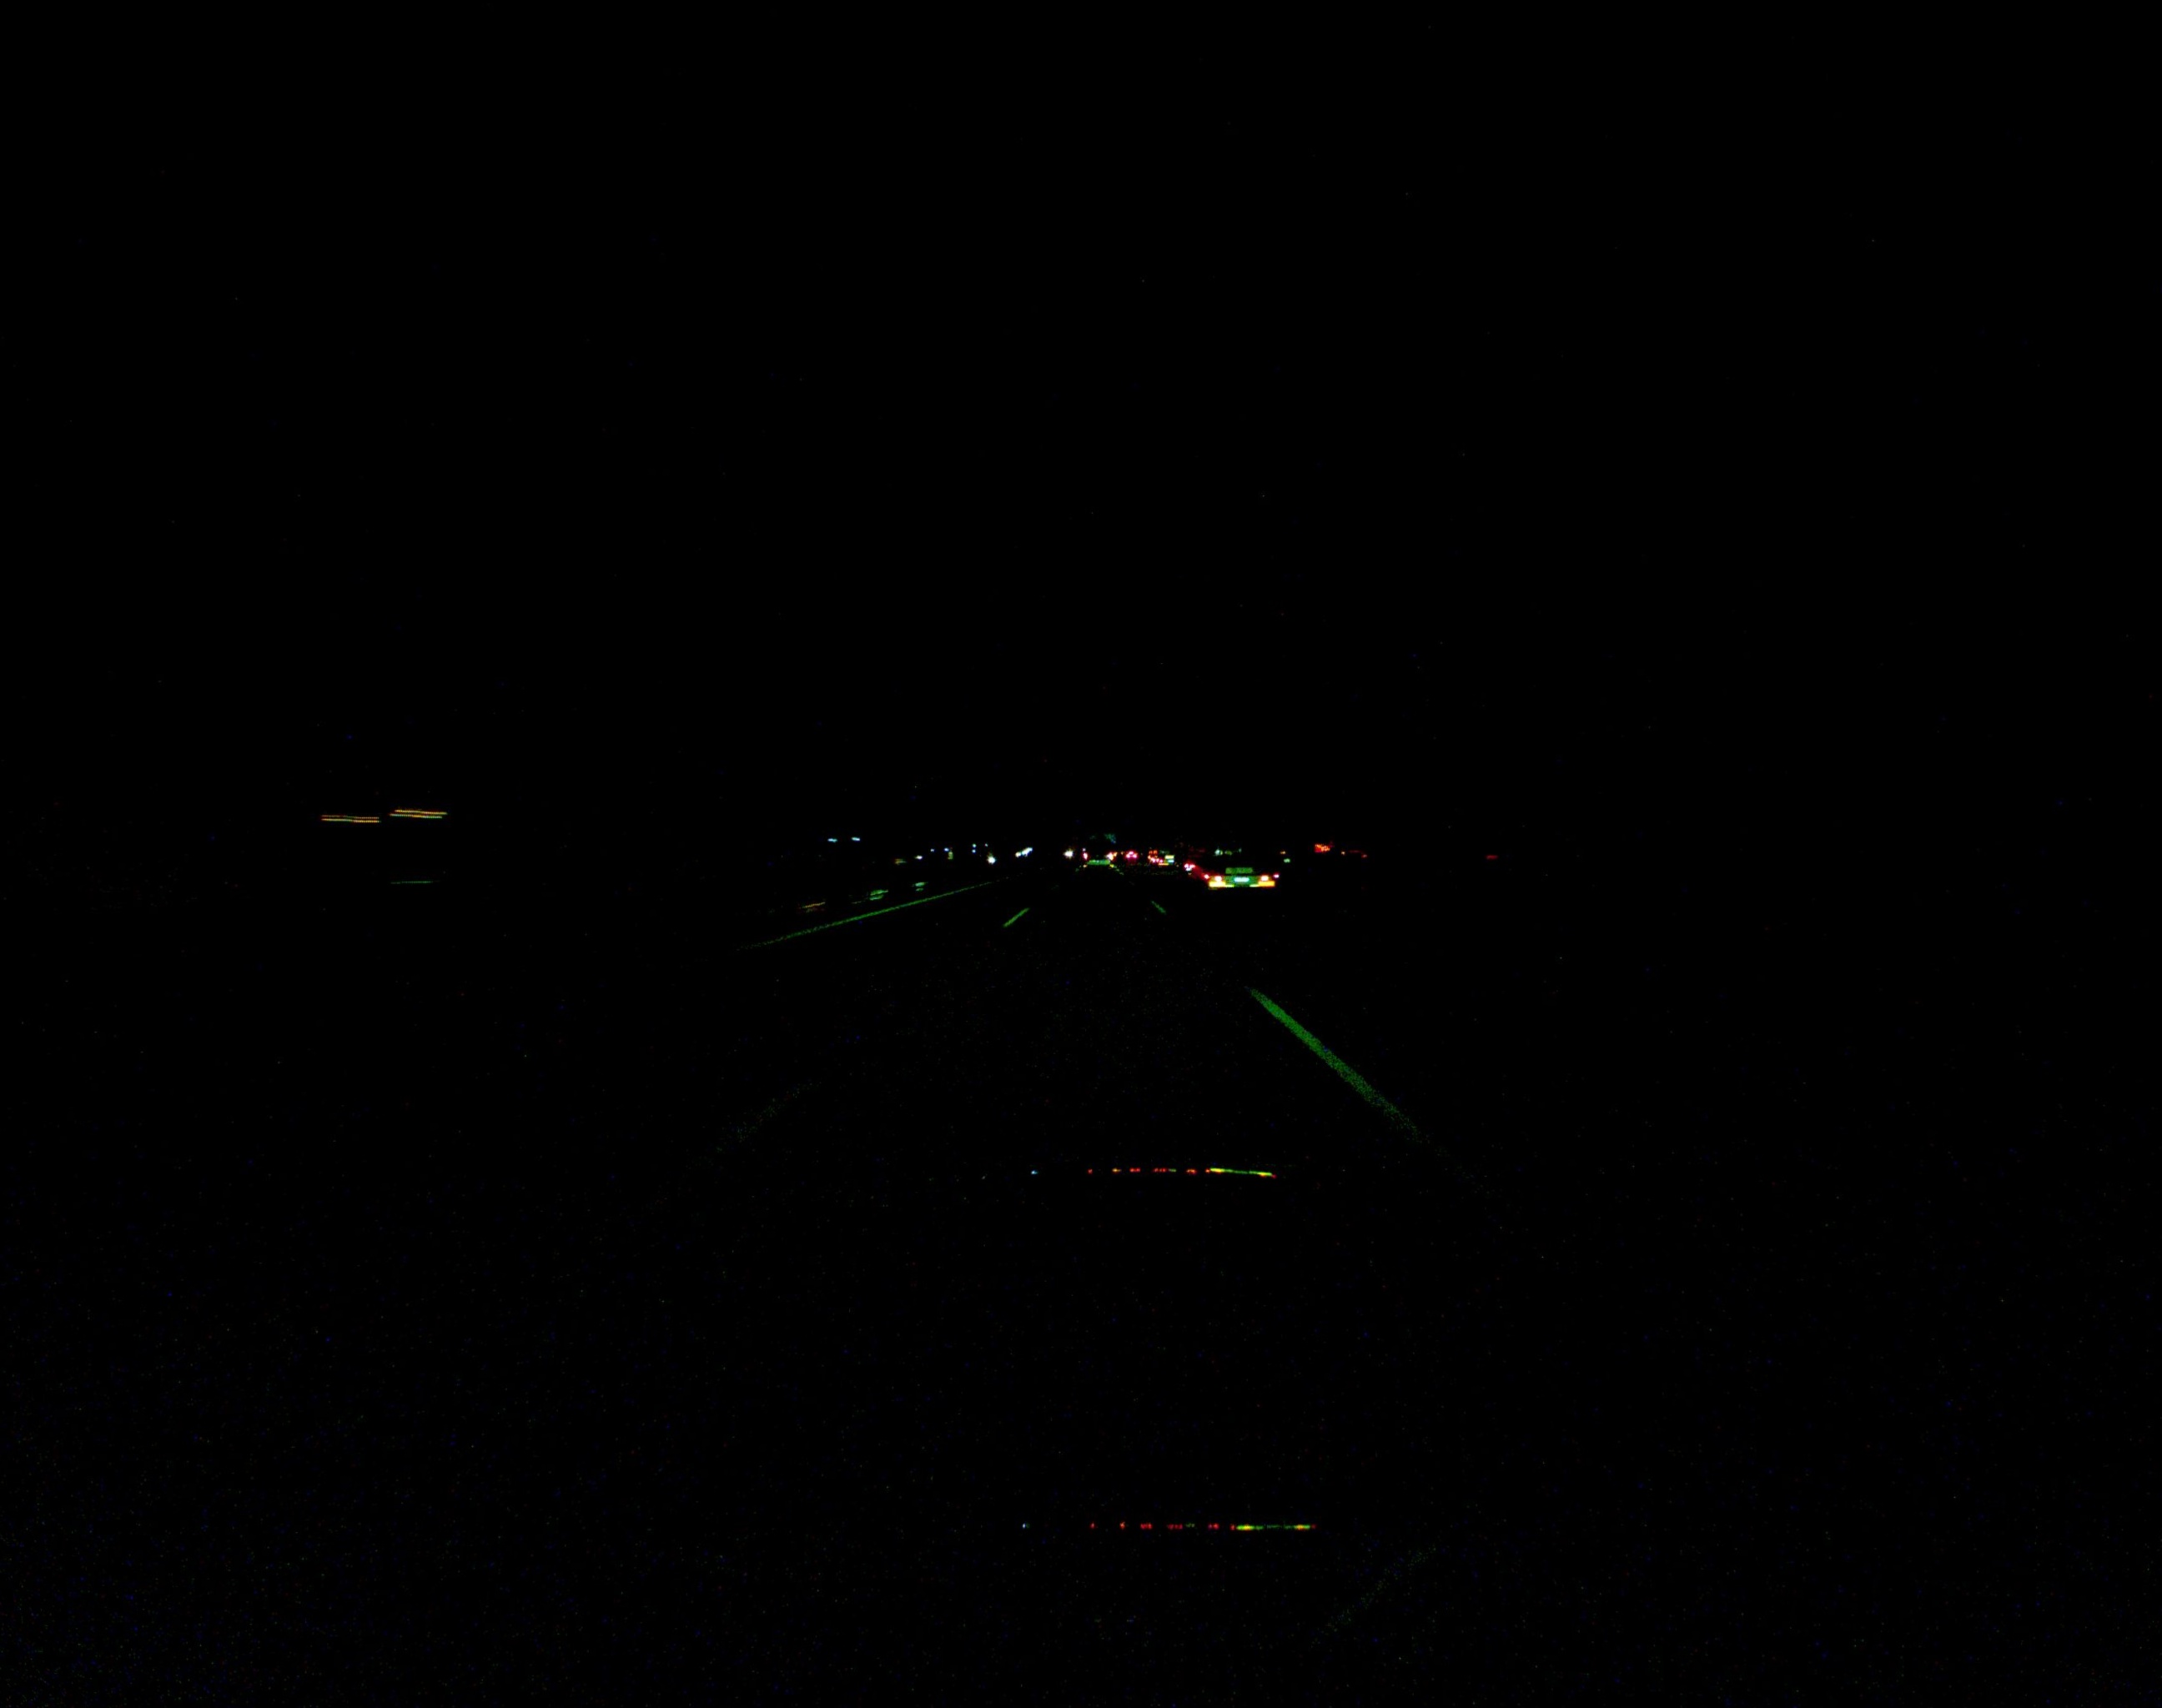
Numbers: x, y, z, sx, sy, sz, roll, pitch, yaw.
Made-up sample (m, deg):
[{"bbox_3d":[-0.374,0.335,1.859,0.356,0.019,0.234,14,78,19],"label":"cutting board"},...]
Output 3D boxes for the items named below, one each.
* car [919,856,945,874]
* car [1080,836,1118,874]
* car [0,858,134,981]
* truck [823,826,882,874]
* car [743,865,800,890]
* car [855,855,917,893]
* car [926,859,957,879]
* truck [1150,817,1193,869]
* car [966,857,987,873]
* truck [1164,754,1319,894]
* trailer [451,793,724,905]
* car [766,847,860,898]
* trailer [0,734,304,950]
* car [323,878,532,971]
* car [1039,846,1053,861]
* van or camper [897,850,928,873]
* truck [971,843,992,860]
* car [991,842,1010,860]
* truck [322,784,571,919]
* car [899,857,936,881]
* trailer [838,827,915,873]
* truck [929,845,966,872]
[{"bbox_3d":[-17.394,1.272,95.221,1.987,2.014,5.323,0,-1,0],"label":"car"},{"bbox_3d":[1.353,0.076,59.827,2.326,2.640,5.255,-2,0,5],"label":"car"},{"bbox_3d":[-15.783,0.879,10.471,1.989,1.686,4.502,0,-1,-3],"label":"car"},{"bbox_3d":[-18.676,-0.244,67.072,2.849,3.687,6.604,0,-1,1],"label":"truck"},{"bbox_3d":[-22.179,1.683,58.577,1.987,1.684,5.324,0,-1,1],"label":"car"},{"bbox_3d":[-10.925,1.122,45.991,1.985,2.014,5.327,0,-1,2],"label":"car"},{"bbox_3d":[-13.828,1.500,81.200,1.986,2.014,5.327,0,-1,2],"label":"car"},{"bbox_3d":[8.414,-0.991,77.409,3.330,4.476,13.923,-1,0,4],"label":"truck"},{"bbox_3d":[-13.549,1.441,105.593,1.987,2.014,5.323,0,-1,0],"label":"car"},{"bbox_3d":[6.691,-0.893,39.060,3.899,4.627,21.029,-4,-1,3],"label":"truck"},{"bbox_3d":[-19.101,-0.042,33.344,2.875,3.672,13.050,0,-1,1],"label":"trailer"},{"bbox_3d":[-11.205,0.774,34.520,1.985,2.014,5.327,0,-1,3],"label":"car"},{"bbox_3d":[-19.846,-0.179,11.416,2.874,3.671,15.244,-1,0,2],"label":"trailer"},{"bbox_3d":[-15.761,1.611,19.972,1.989,2.014,3.995,0,-1,-3],"label":"car"},{"bbox_3d":[-5.127,-0.055,118.957,1.989,2.014,3.995,0,-1,-3],"label":"car"},{"bbox_3d":[-21.161,0.985,102.754,2.274,2.808,7.580,0,-1,0],"label":"van or camper"},{"bbox_3d":[-20.089,-0.443,165.442,3.157,3.222,7.450,0,-1,2],"label":"truck"},{"bbox_3d":[-9.462,-0.321,96.197,1.989,2.014,3.995,0,-1,-3],"label":"car"},{"bbox_3d":[-19.337,-0.072,25.414,2.863,3.673,6.053,-1,0,2],"label":"truck"},{"bbox_3d":[-14.269,1.303,71.373,1.986,2.014,5.327,0,-1,2],"label":"car"},{"bbox_3d":[-18.477,-0.196,75.028,2.875,3.849,15.071,0,-1,1],"label":"trailer"},{"bbox_3d":[-20.444,0.817,125.499,2.875,3.849,15.071,0,-1,1],"label":"truck"}]
